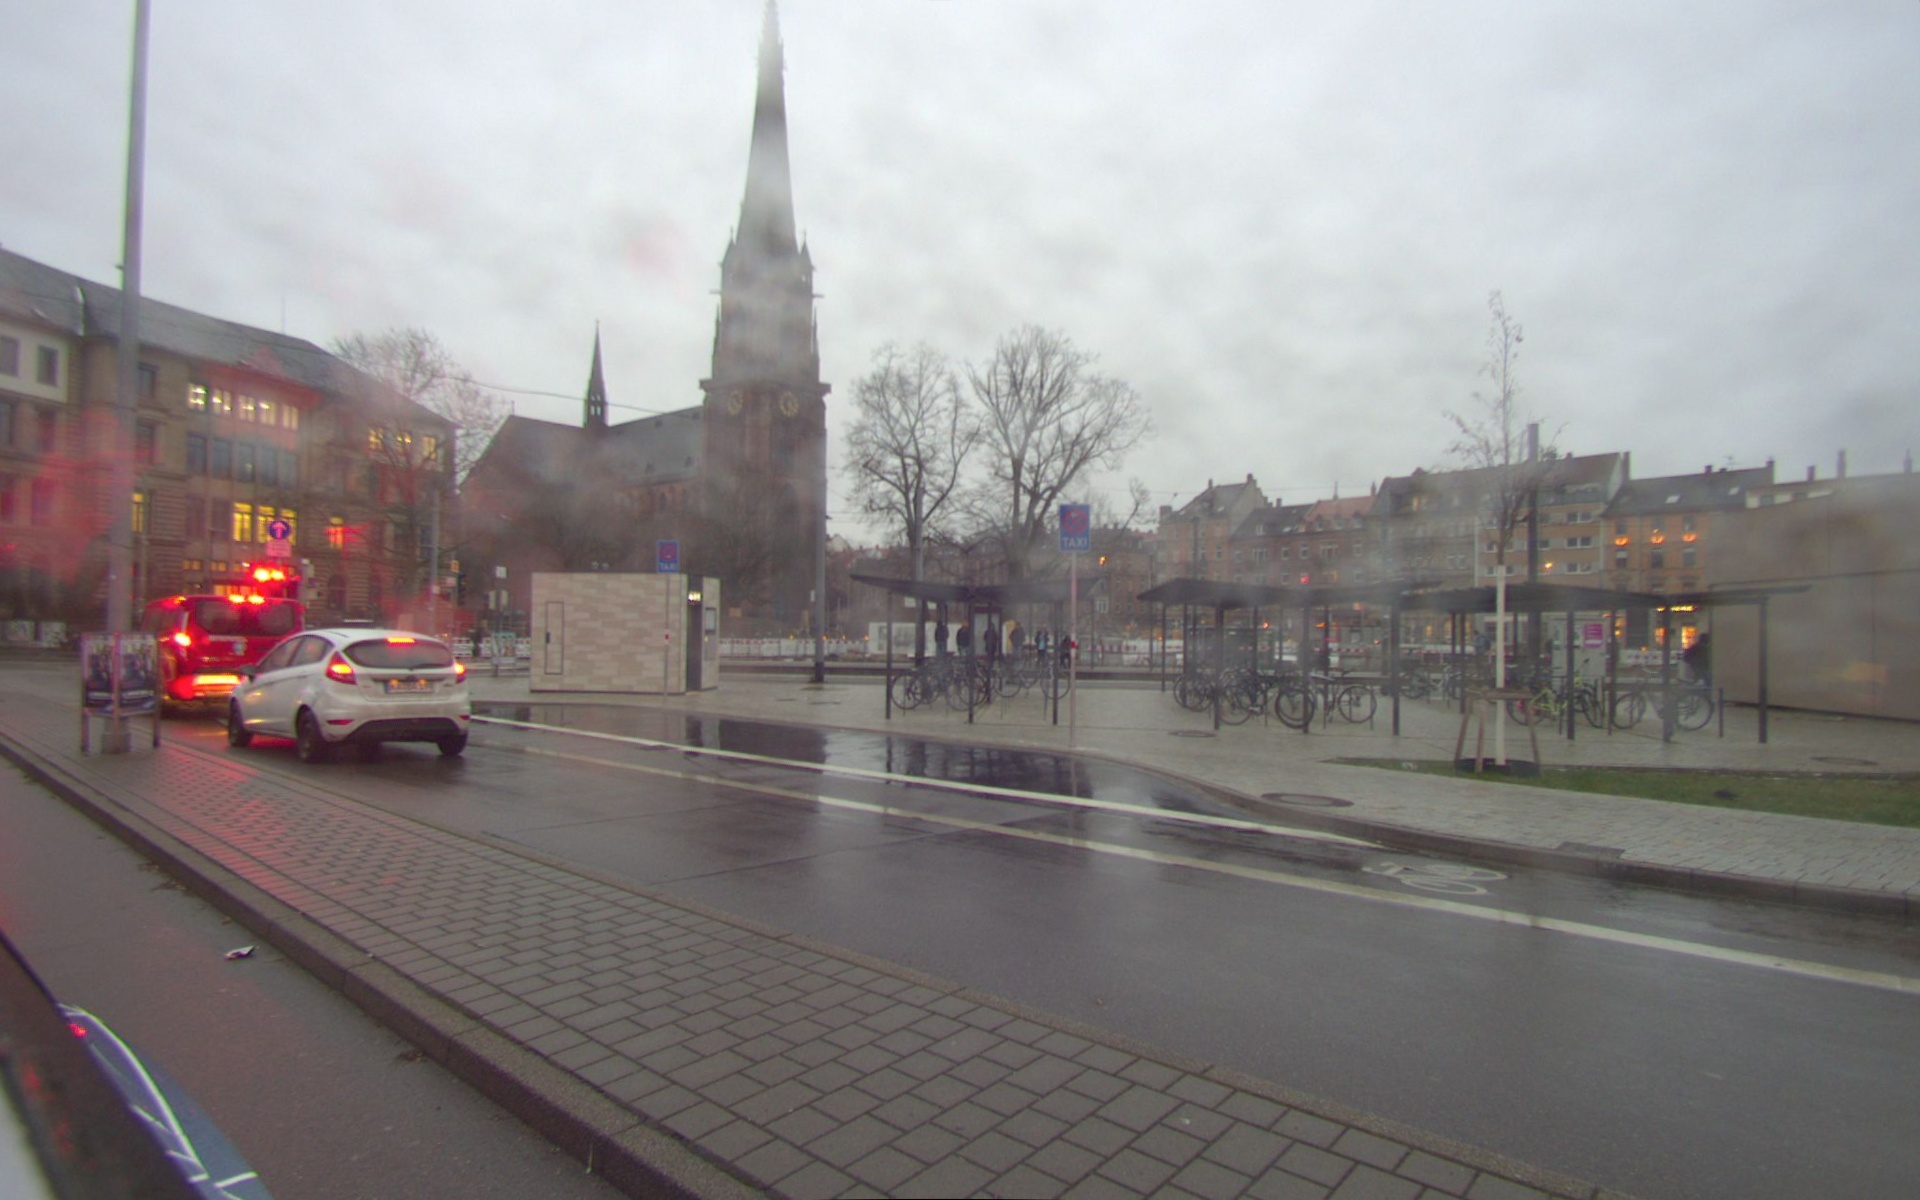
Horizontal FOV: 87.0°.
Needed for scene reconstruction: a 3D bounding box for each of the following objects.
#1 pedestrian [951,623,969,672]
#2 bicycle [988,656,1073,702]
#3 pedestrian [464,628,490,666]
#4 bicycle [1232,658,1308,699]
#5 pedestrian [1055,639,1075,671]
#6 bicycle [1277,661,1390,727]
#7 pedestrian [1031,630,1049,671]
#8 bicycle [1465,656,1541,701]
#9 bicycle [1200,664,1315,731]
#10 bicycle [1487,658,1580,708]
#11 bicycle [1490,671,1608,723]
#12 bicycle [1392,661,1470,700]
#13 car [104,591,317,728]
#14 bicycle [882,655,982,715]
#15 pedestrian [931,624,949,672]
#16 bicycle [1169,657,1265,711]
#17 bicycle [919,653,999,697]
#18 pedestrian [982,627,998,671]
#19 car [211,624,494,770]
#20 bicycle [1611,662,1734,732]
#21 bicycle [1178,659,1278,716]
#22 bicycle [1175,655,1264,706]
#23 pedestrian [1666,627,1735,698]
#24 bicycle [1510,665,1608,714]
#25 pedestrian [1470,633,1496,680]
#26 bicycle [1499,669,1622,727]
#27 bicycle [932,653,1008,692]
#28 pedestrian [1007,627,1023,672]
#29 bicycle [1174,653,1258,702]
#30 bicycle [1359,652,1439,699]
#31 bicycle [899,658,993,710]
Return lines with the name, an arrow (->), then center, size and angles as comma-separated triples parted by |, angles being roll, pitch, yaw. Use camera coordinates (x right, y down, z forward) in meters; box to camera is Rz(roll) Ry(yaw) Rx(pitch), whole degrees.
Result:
pedestrian -> 0.000, 1.802, 38.578 | 0.619, 1.808, 0.672 | -1, 0, -1
bicycle -> 1.636, 1.820, 23.423 | 1.905, 0.993, 0.473 | 1, -1, 11
pedestrian -> -23.721, 2.322, 49.663 | 0.886, 1.830, 0.674 | 1, -2, 2
bicycle -> 7.659, 1.940, 25.070 | 1.729, 0.946, 0.474 | 1, -1, 7
pedestrian -> 3.976, 2.072, 38.324 | 0.610, 1.165, 0.806 | -1, 0, -1
bicycle -> 6.942, 1.733, 18.867 | 1.905, 1.129, 0.473 | 1, -1, 11
pedestrian -> 3.029, 1.910, 38.332 | 0.580, 1.513, 0.675 | -1, 0, -1
bicycle -> 13.229, 1.914, 24.665 | 1.551, 1.044, 0.521 | 1, -1, 1
bicycle -> 5.253, 1.718, 17.956 | 1.905, 1.078, 0.473 | 1, -1, 11
bicycle -> 13.249, 1.907, 23.418 | 1.810, 1.081, 0.474 | 1, -1, 8
bicycle -> 11.364, 1.860, 19.572 | 1.905, 0.898, 0.473 | 1, -1, 11
bicycle -> 11.617, 1.990, 24.992 | 1.672, 0.898, 0.474 | 1, -1, 5
car -> -13.176, 0.994, 17.685 | 4.640, 2.086, 1.904 | -1, -4, 40
bicycle -> -0.541, 1.652, 19.867 | 1.905, 1.078, 0.473 | 1, -1, 11
pedestrian -> -0.768, 1.812, 38.406 | 0.660, 1.808, 0.827 | -1, 0, -2
bicycle -> 5.428, 1.771, 21.401 | 1.899, 1.078, 0.474 | 1, -1, 2
bicycle -> -0.018, 1.828, 24.868 | 1.905, 0.993, 0.473 | 1, -1, 11
pedestrian -> 1.144, 1.859, 38.651 | 0.556, 1.664, 0.540 | -1, 0, -1
car -> -7.380, 1.073, 12.176 | 3.710, 1.459, 1.722 | -1, -5, 40
bicycle -> 12.686, 1.722, 18.046 | 1.731, 1.165, 0.617 | 1, -1, 1
bicycle -> 5.441, 1.773, 20.618 | 1.905, 1.078, 0.473 | 1, -1, 11
bicycle -> 5.846, 1.807, 22.850 | 1.905, 1.078, 0.473 | 1, -1, 11
pedestrian -> 19.188, 1.614, 26.253 | 1.056, 1.778, 1.008 | 0, -3, 10
bicycle -> 12.897, 1.917, 21.831 | 1.751, 0.963, 0.473 | 1, -1, 11
pedestrian -> 18.620, 2.009, 36.042 | 0.694, 1.679, 0.526 | 0, -3, 15
bicycle -> 11.123, 1.812, 18.784 | 1.905, 0.983, 0.473 | 1, -1, 11
bicycle -> 0.267, 1.867, 26.126 | 1.905, 0.917, 0.473 | 1, -1, 11
pedestrian -> 2.064, 1.855, 38.113 | 0.543, 1.648, 0.571 | -1, 0, -1
bicycle -> 6.060, 1.828, 24.040 | 1.905, 1.078, 0.473 | 1, -1, 11
bicycle -> 11.181, 1.923, 25.802 | 1.780, 1.116, 0.473 | 1, -1, 11
bicycle -> -0.290, 1.733, 21.104 | 1.905, 0.993, 0.473 | 1, -1, 11
